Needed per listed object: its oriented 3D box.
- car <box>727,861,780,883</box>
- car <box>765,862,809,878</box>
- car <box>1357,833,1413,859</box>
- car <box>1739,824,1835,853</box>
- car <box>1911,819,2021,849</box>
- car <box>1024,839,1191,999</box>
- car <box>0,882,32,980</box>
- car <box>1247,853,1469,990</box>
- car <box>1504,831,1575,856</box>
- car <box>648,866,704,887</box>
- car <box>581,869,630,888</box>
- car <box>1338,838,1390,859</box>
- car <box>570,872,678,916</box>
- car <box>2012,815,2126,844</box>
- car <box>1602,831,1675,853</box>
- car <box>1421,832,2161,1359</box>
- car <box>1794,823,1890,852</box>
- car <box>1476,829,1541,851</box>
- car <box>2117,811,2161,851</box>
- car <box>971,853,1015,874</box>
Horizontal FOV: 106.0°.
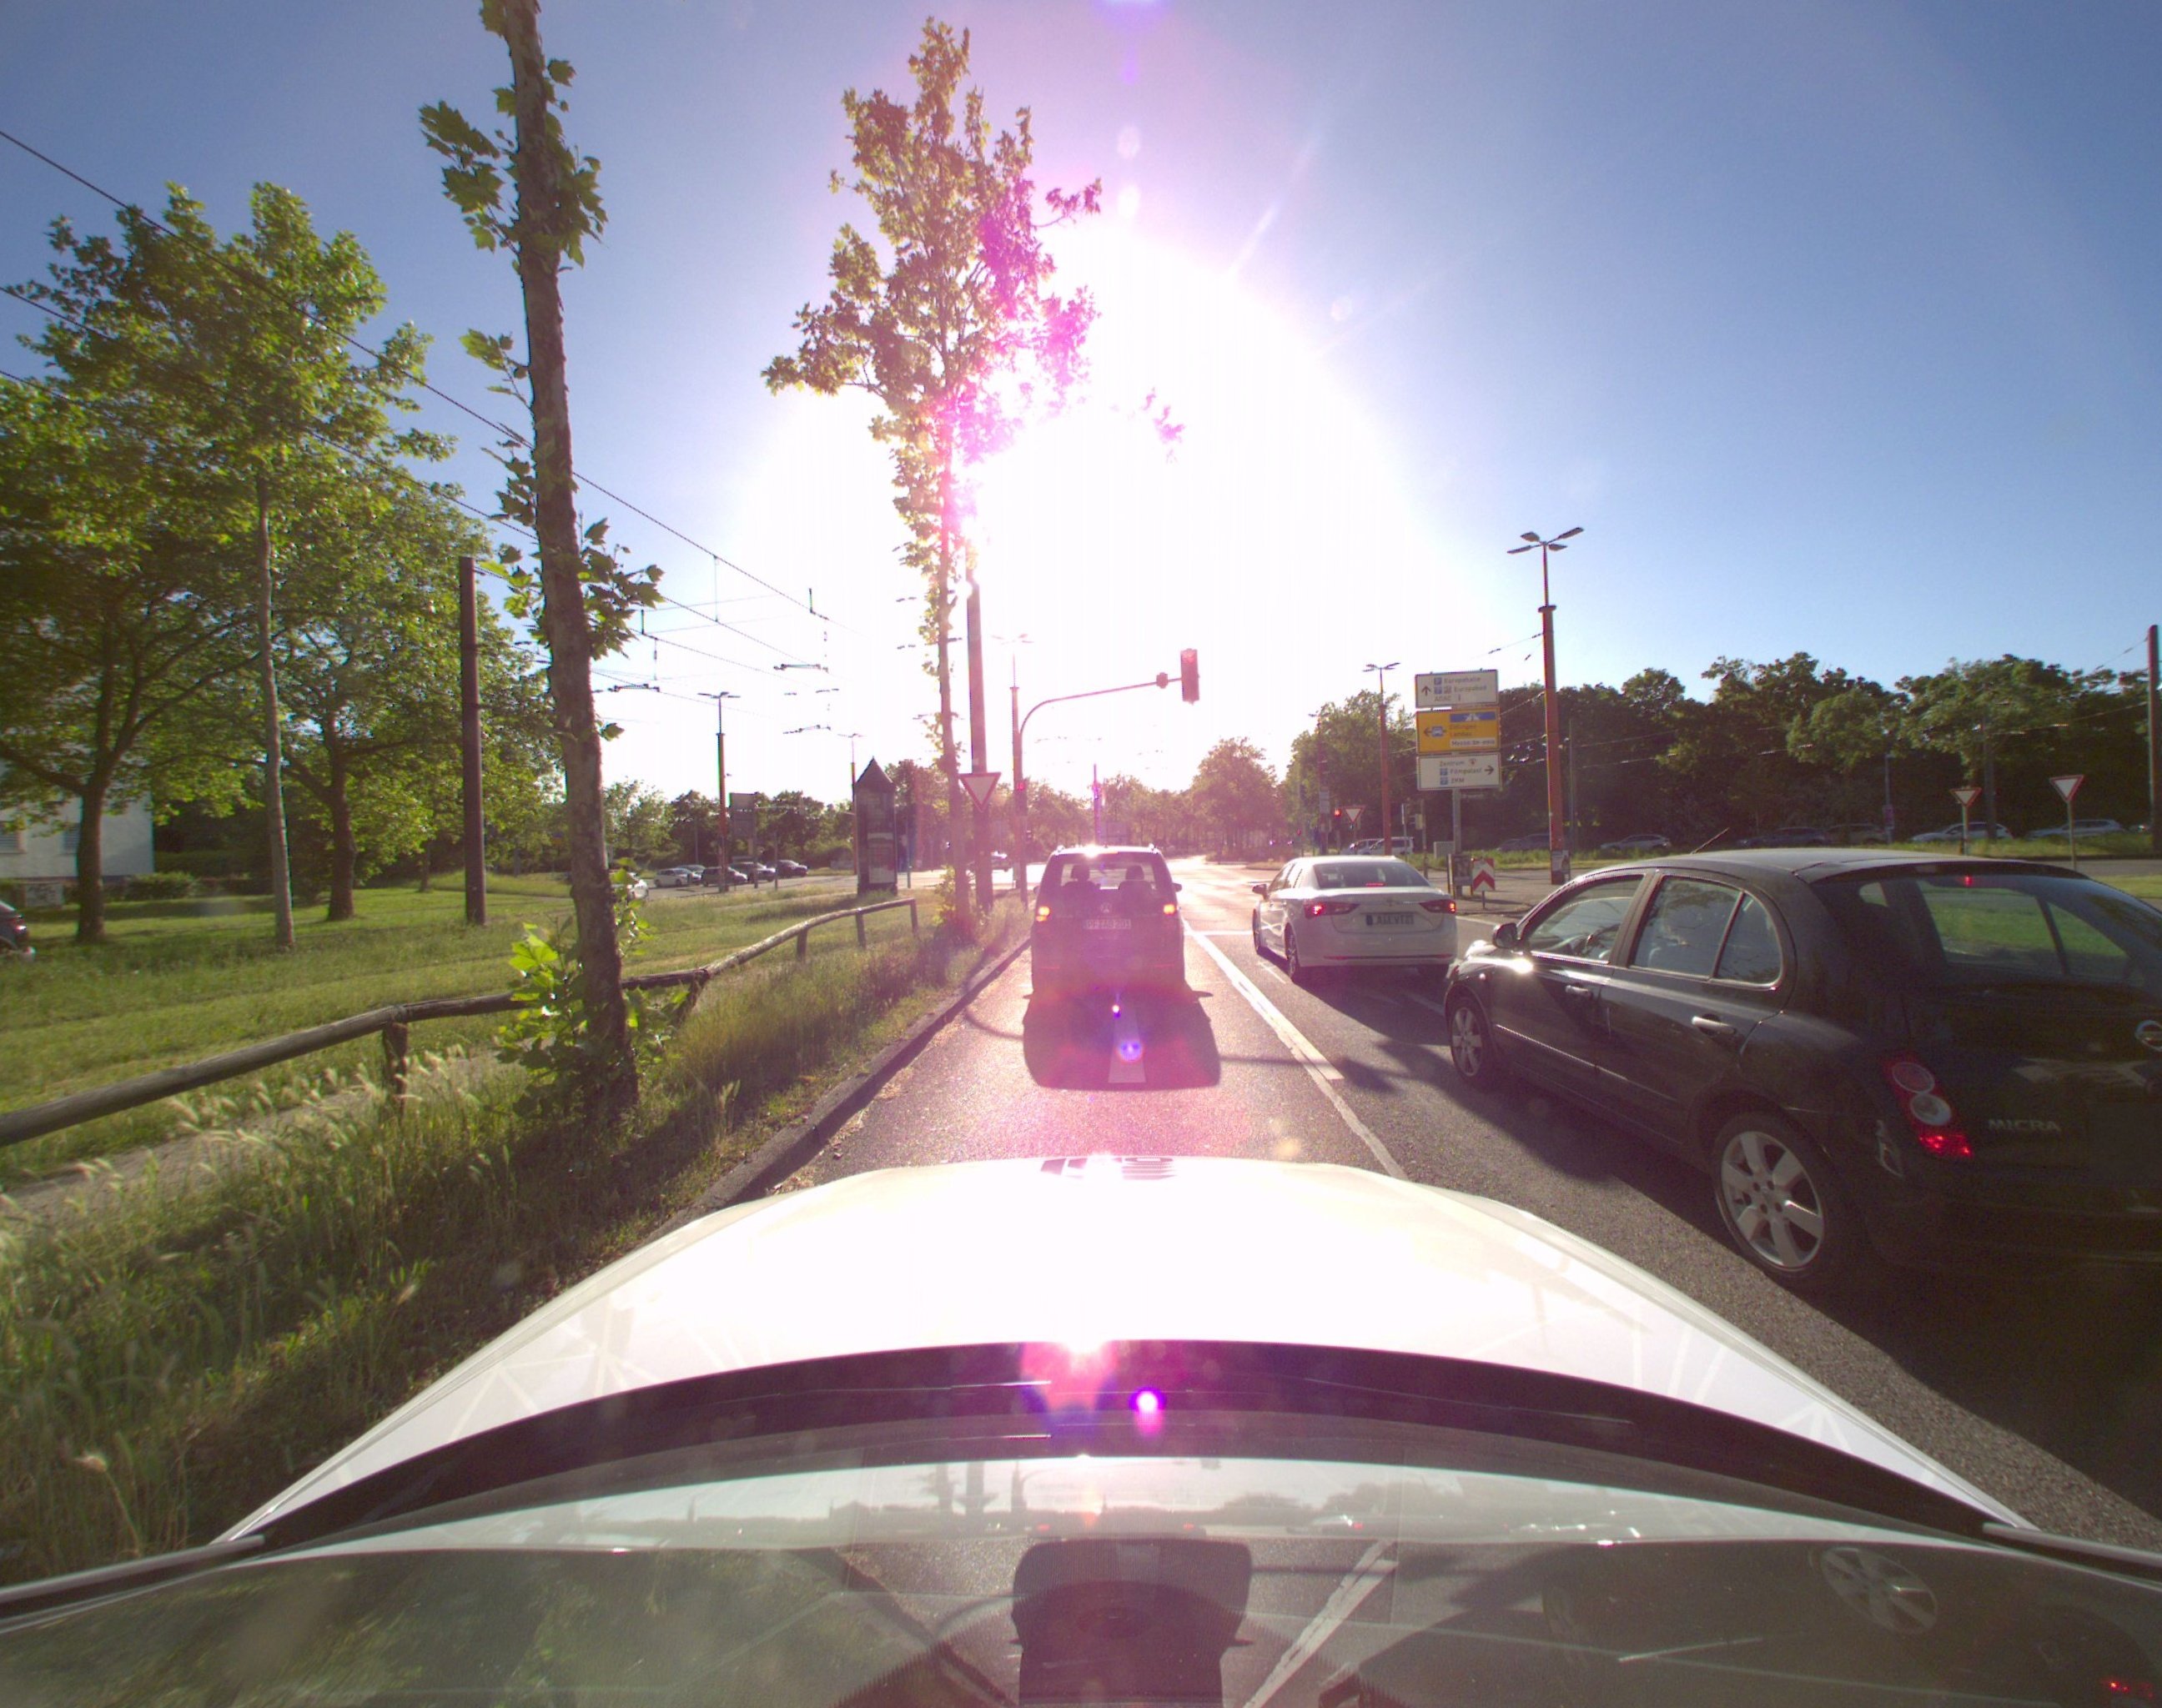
[{"bbox_3d":[-26.523,1.448,65.921,3.948,1.644,2.013,-1,0,33],"label":"car"},{"bbox_3d":[-26.499,1.455,73.430,3.948,1.330,1.709,-1,0,33],"label":"car"},{"bbox_3d":[22.547,-0.572,60.384,3.797,1.890,1.774,0,-1,25],"label":"car"},{"bbox_3d":[42.632,-0.930,49.277,4.080,1.598,1.840,-2,0,29],"label":"car"},{"bbox_3d":[49.289,-1.073,45.470,3.782,1.523,1.706,-2,0,31],"label":"car"},{"bbox_3d":[0.329,0.679,10.448,1.694,1.621,3.898,-2,0,1],"label":"car"},{"bbox_3d":[-17.752,1.235,11.002,1.758,1.512,4.104,-1,0,2],"label":"car"},{"bbox_3d":[3.343,0.713,10.688,1.713,1.438,4.202,-1,0,3],"label":"car"},{"bbox_3d":[31.146,-0.685,55.458,4.139,1.644,1.770,0,-1,28],"label":"car"},{"bbox_3d":[-32.374,1.799,65.164,4.135,1.612,1.880,-1,0,27],"label":"car"},{"bbox_3d":[-40.569,2.075,69.423,3.949,1.513,1.743,-1,0,27],"label":"car"},{"bbox_3d":[22.286,-0.405,64.159,3.608,1.655,1.690,0,-1,27],"label":"car"},{"bbox_3d":[-18.441,1.570,33.105,1.799,1.522,4.332,-2,0,1],"label":"car"},{"bbox_3d":[55.176,-1.338,45.572,3.700,1.473,1.610,-2,0,28],"label":"car"},{"bbox_3d":[37.708,-0.794,55.168,3.926,1.441,1.697,0,-1,29],"label":"car"},{"bbox_3d":[3.239,0.684,4.126,1.647,1.500,3.617,0,0,2],"label":"car"},{"bbox_3d":[47.535,-1.029,50.973,4.080,1.644,1.864,-2,0,31],"label":"car"},{"bbox_3d":[30.987,-1.017,59.080,4.082,1.511,1.834,0,-1,28],"label":"car"},{"bbox_3d":[56.633,-1.245,41.339,4.526,2.013,2.013,-2,0,33],"label":"car"},{"bbox_3d":[-7.593,0.815,69.879,1.813,1.656,4.065,-1,0,-40],"label":"car"}]
